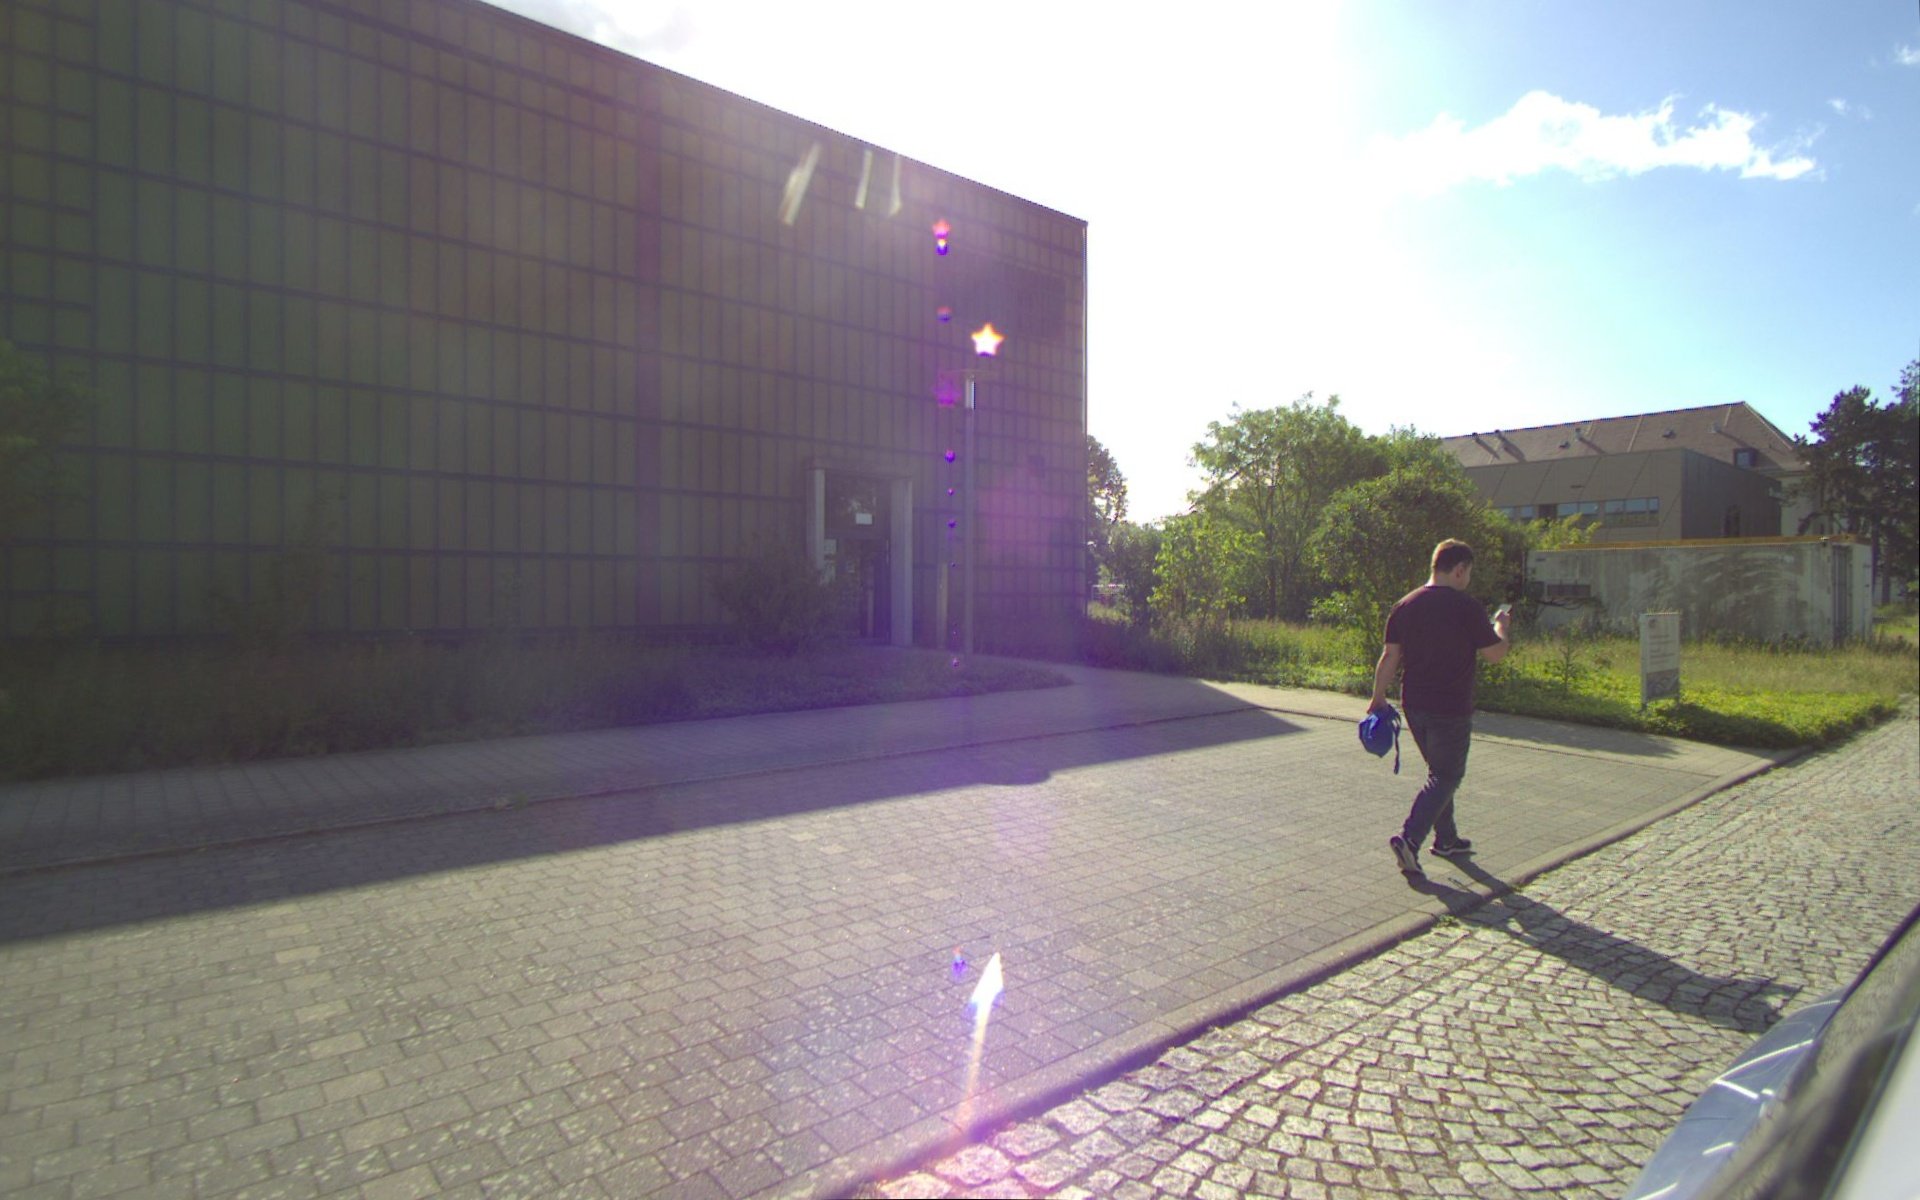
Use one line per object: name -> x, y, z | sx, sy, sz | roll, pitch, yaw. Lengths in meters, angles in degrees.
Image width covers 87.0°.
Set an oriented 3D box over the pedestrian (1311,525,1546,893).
pedestrian -> 2.597, 0.521, 5.600 | 1.050, 1.803, 0.796 | 0, 1, -42
